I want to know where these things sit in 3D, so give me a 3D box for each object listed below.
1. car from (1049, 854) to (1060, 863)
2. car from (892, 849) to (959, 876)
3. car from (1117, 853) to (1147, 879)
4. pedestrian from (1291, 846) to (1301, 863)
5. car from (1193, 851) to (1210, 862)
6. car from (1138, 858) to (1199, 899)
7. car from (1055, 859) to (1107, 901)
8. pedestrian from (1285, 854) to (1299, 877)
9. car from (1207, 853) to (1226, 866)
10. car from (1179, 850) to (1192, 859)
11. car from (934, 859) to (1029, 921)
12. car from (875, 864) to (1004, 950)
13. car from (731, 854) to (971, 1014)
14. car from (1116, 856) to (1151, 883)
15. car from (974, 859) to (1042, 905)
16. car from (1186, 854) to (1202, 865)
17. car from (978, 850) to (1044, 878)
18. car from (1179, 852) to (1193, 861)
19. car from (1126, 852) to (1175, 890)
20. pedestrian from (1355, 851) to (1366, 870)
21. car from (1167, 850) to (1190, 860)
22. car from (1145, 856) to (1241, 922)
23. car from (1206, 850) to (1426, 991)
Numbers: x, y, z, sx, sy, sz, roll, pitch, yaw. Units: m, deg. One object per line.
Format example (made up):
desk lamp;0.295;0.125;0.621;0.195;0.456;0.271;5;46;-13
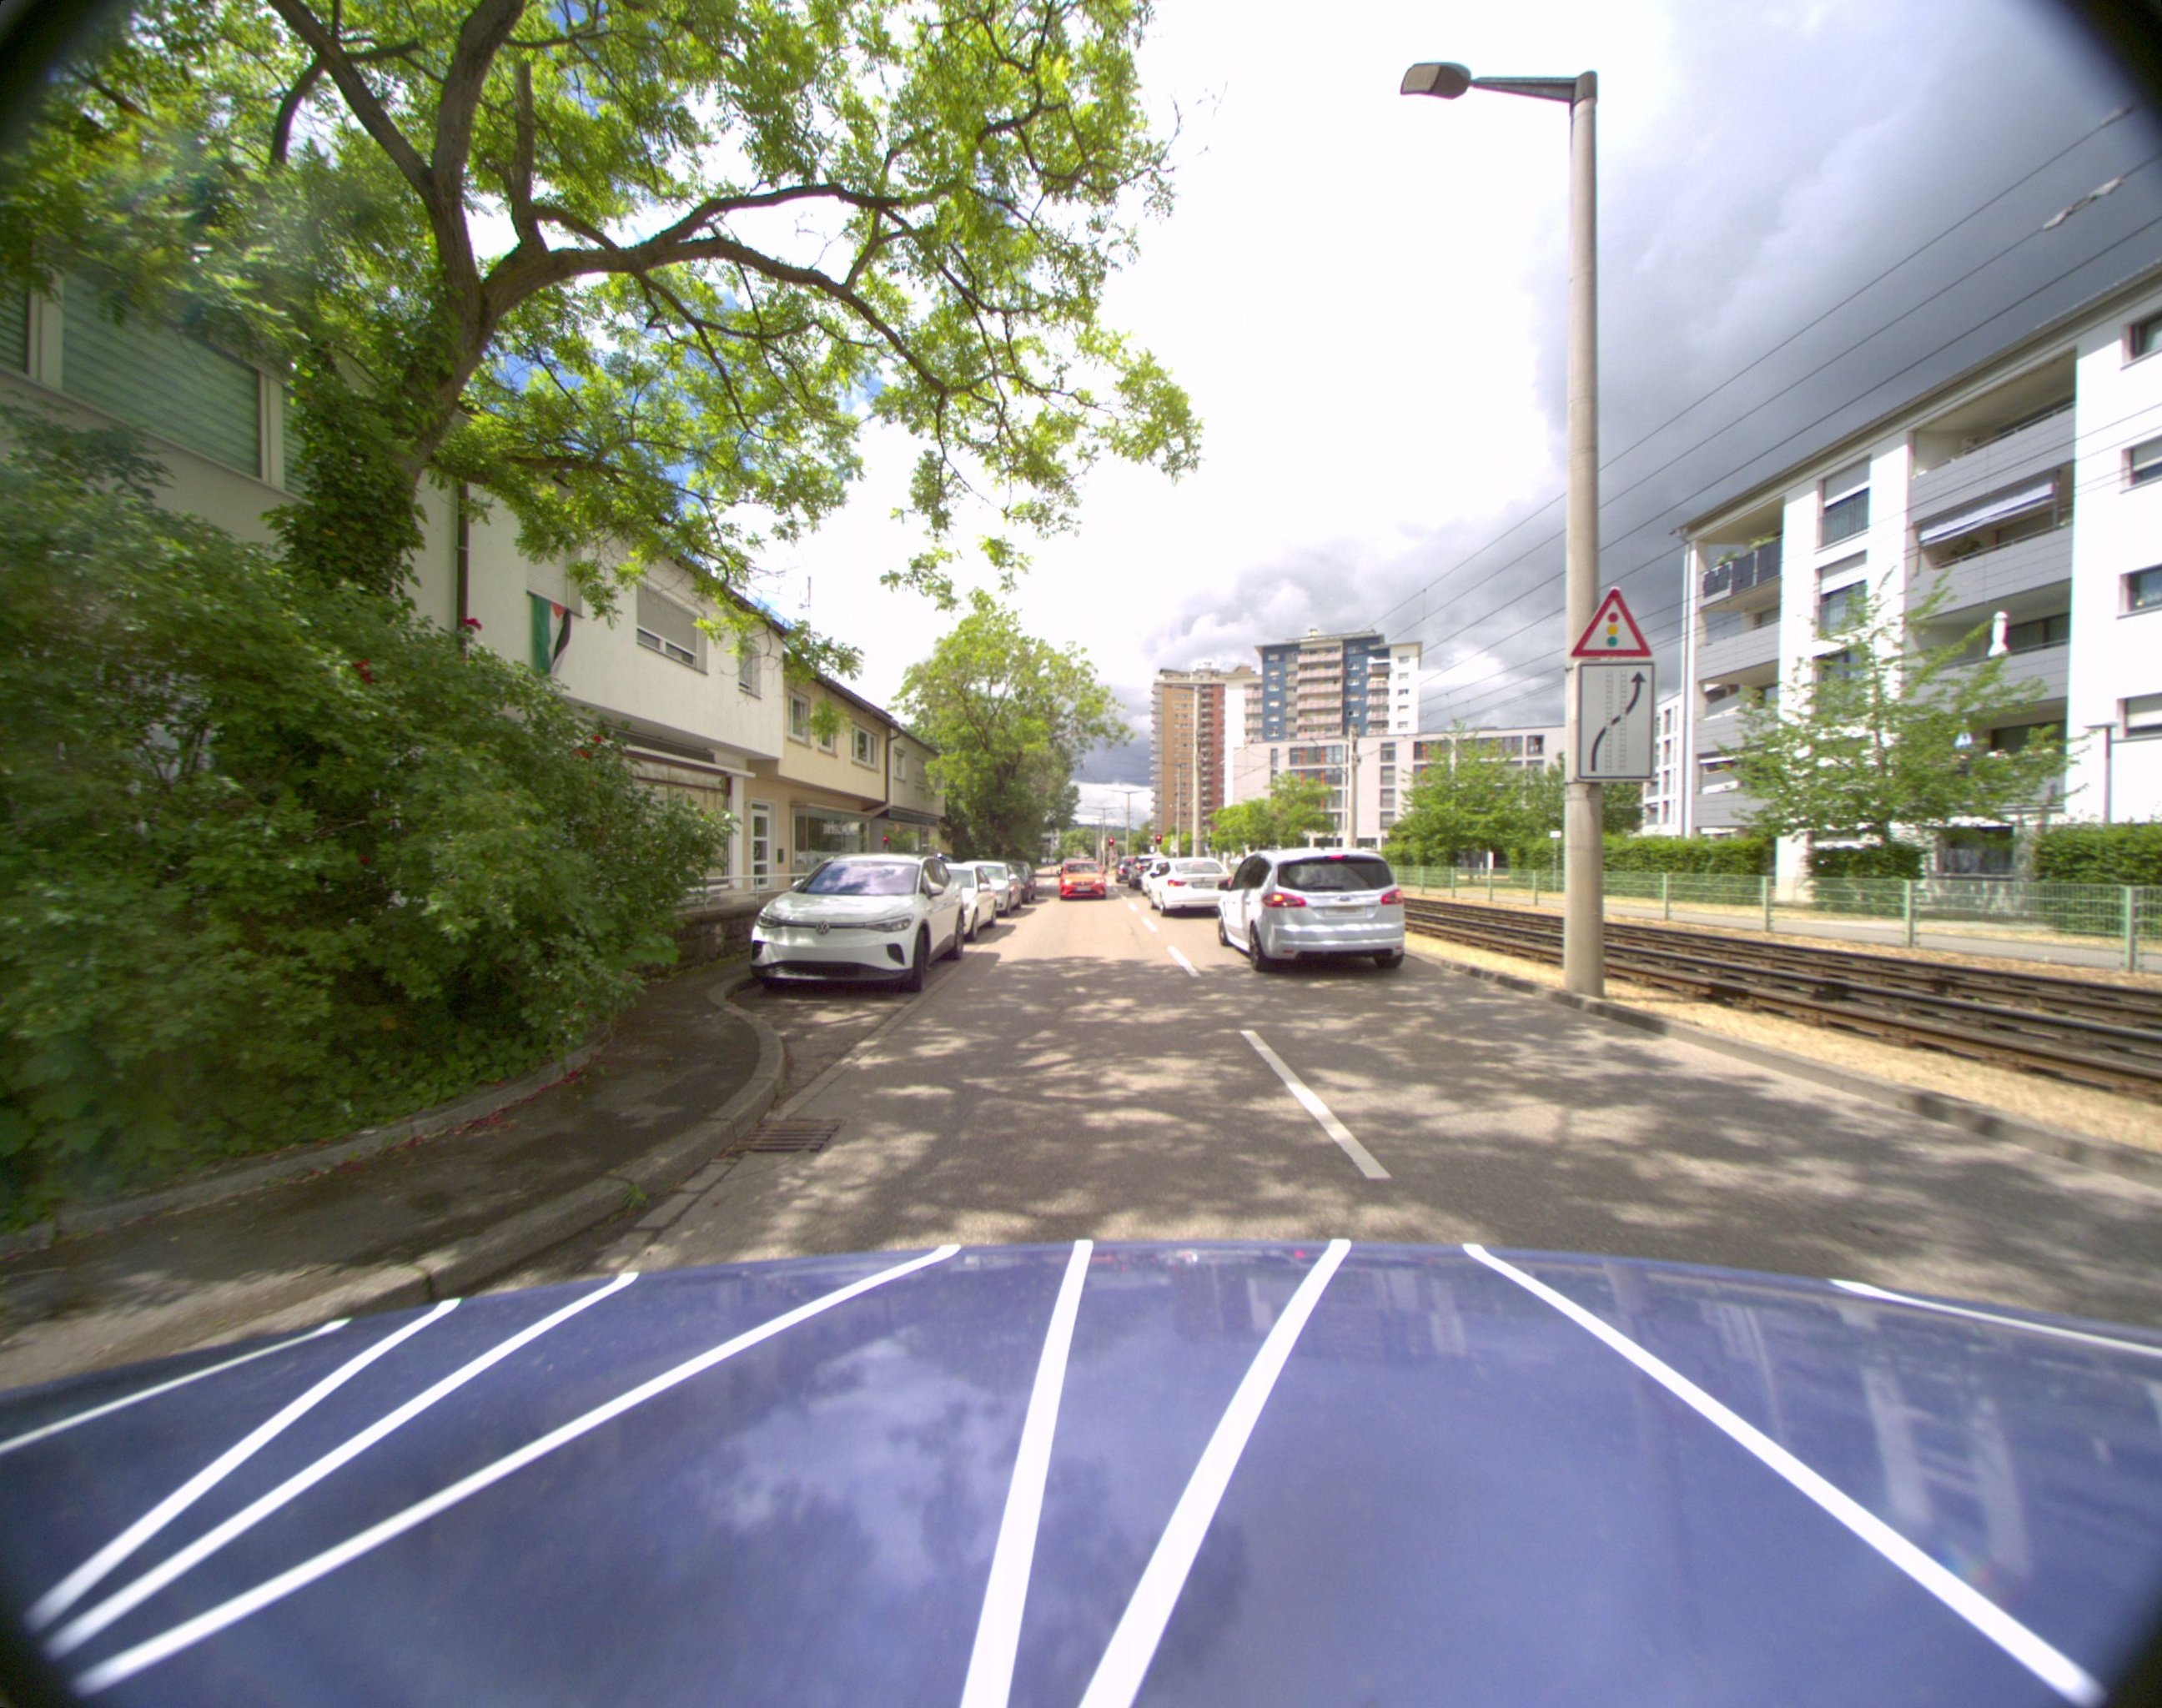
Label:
car;-4.834;0.824;140.814;1.843;1.648;3.789;-1;0;0
car;-9.609;0.529;46.883;3.940;1.510;1.800;2;0;-13
car;3.378;0.782;51.153;1.862;1.650;4.176;0;0;2
pedestrian;20.682;0.082;73.026;0.749;1.644;0.538;-1;1;0
car;17.375;0.398;109.821;1.781;1.530;3.803;-1;0;-1
car;3.210;0.867;28.546;1.751;1.398;3.939;0;0;-1
car;0.047;0.938;29.181;1.791;1.387;4.241;-2;0;1
pedestrian;15.178;0.833;54.639;0.756;1.603;0.938;-1;1;0
car;17.369;0.690;97.436;1.893;1.613;3.804;-1;0;4
car;19.689;0.145;143.018;1.781;1.650;3.803;-1;0;-1
car;-2.689;0.920;21.592;1.818;1.490;4.911;0;0;3
car;-2.717;0.968;15.647;1.729;1.418;4.446;0;0;1
car;-2.727;0.841;10.179;1.842;1.634;4.429;-1;0;0
car;3.074;0.885;44.921;1.815;1.437;4.465;0;0;1
car;-2.507;0.942;26.993;1.818;1.455;4.041;0;0;3
car;17.325;0.824;116.344;1.781;1.530;3.803;-1;0;-1
car;-4.276;0.619;46.873;3.642;1.562;1.843;2;1;12
car;16.992;0.383;122.981;1.781;1.530;3.803;-1;0;-1
car;3.255;0.772;36.257;1.862;1.680;4.433;0;0;-1
pedestrian;24.195;0.545;65.825;0.539;1.601;0.748;-1;1;-22
car;18.849;0.111;147.399;4.505;1.914;1.877;-1;1;-40
car;2.881;0.832;20.532;1.822;1.494;4.836;-2;0;0
car;3.123;0.768;11.174;1.822;1.604;4.601;-2;0;1
